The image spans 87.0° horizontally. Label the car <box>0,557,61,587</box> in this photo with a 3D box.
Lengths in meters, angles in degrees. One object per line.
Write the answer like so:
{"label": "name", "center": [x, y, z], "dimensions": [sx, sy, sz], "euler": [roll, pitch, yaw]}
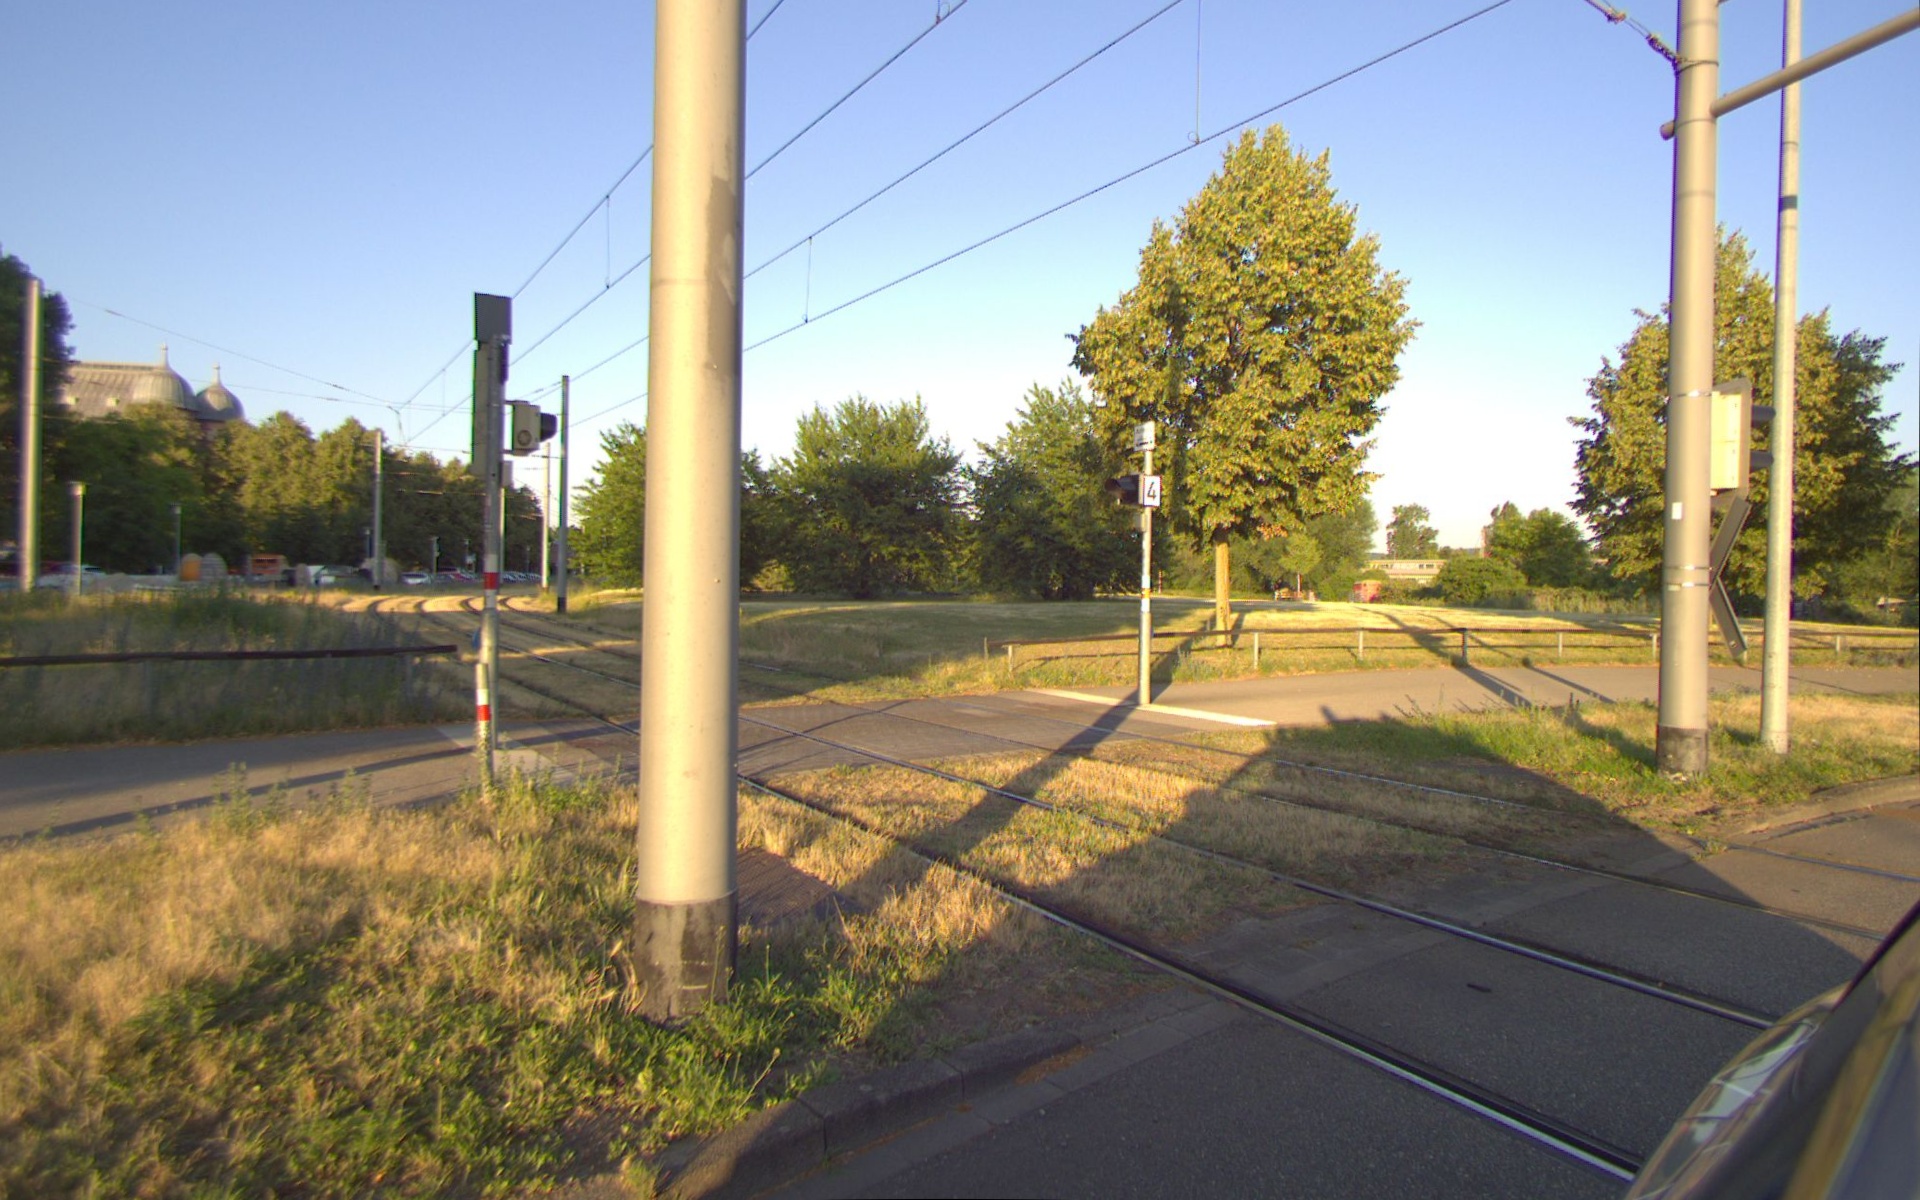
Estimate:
{"label": "car", "center": [-52.063, -1.537, 55.304], "dimensions": [3.916, 1.573, 1.908], "euler": [0, 1, -14]}

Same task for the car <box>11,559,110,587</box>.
{"label": "car", "center": [-53.304, -1.595, 60.046], "dimensions": [3.916, 1.573, 1.908], "euler": [0, 1, -14]}

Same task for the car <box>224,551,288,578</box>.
{"label": "car", "center": [-58.550, -2.944, 84.226], "dimensions": [3.916, 2.121, 1.908], "euler": [0, 1, -14]}

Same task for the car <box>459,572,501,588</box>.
{"label": "car", "center": [-47.664, -1.993, 100.485], "dimensions": [3.535, 1.501, 1.714], "euler": [2, 0, -17]}

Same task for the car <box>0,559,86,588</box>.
{"label": "car", "center": [-52.681, -1.531, 57.655], "dimensions": [3.916, 1.573, 1.908], "euler": [0, 1, -14]}

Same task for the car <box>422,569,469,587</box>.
{"label": "car", "center": [-47.041, -2.004, 92.569], "dimensions": [3.535, 1.501, 1.714], "euler": [2, 0, -17]}

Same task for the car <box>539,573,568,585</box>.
{"label": "car", "center": [-55.294, -2.853, 137.794], "dimensions": [3.535, 1.501, 1.714], "euler": [2, 0, -17]}
